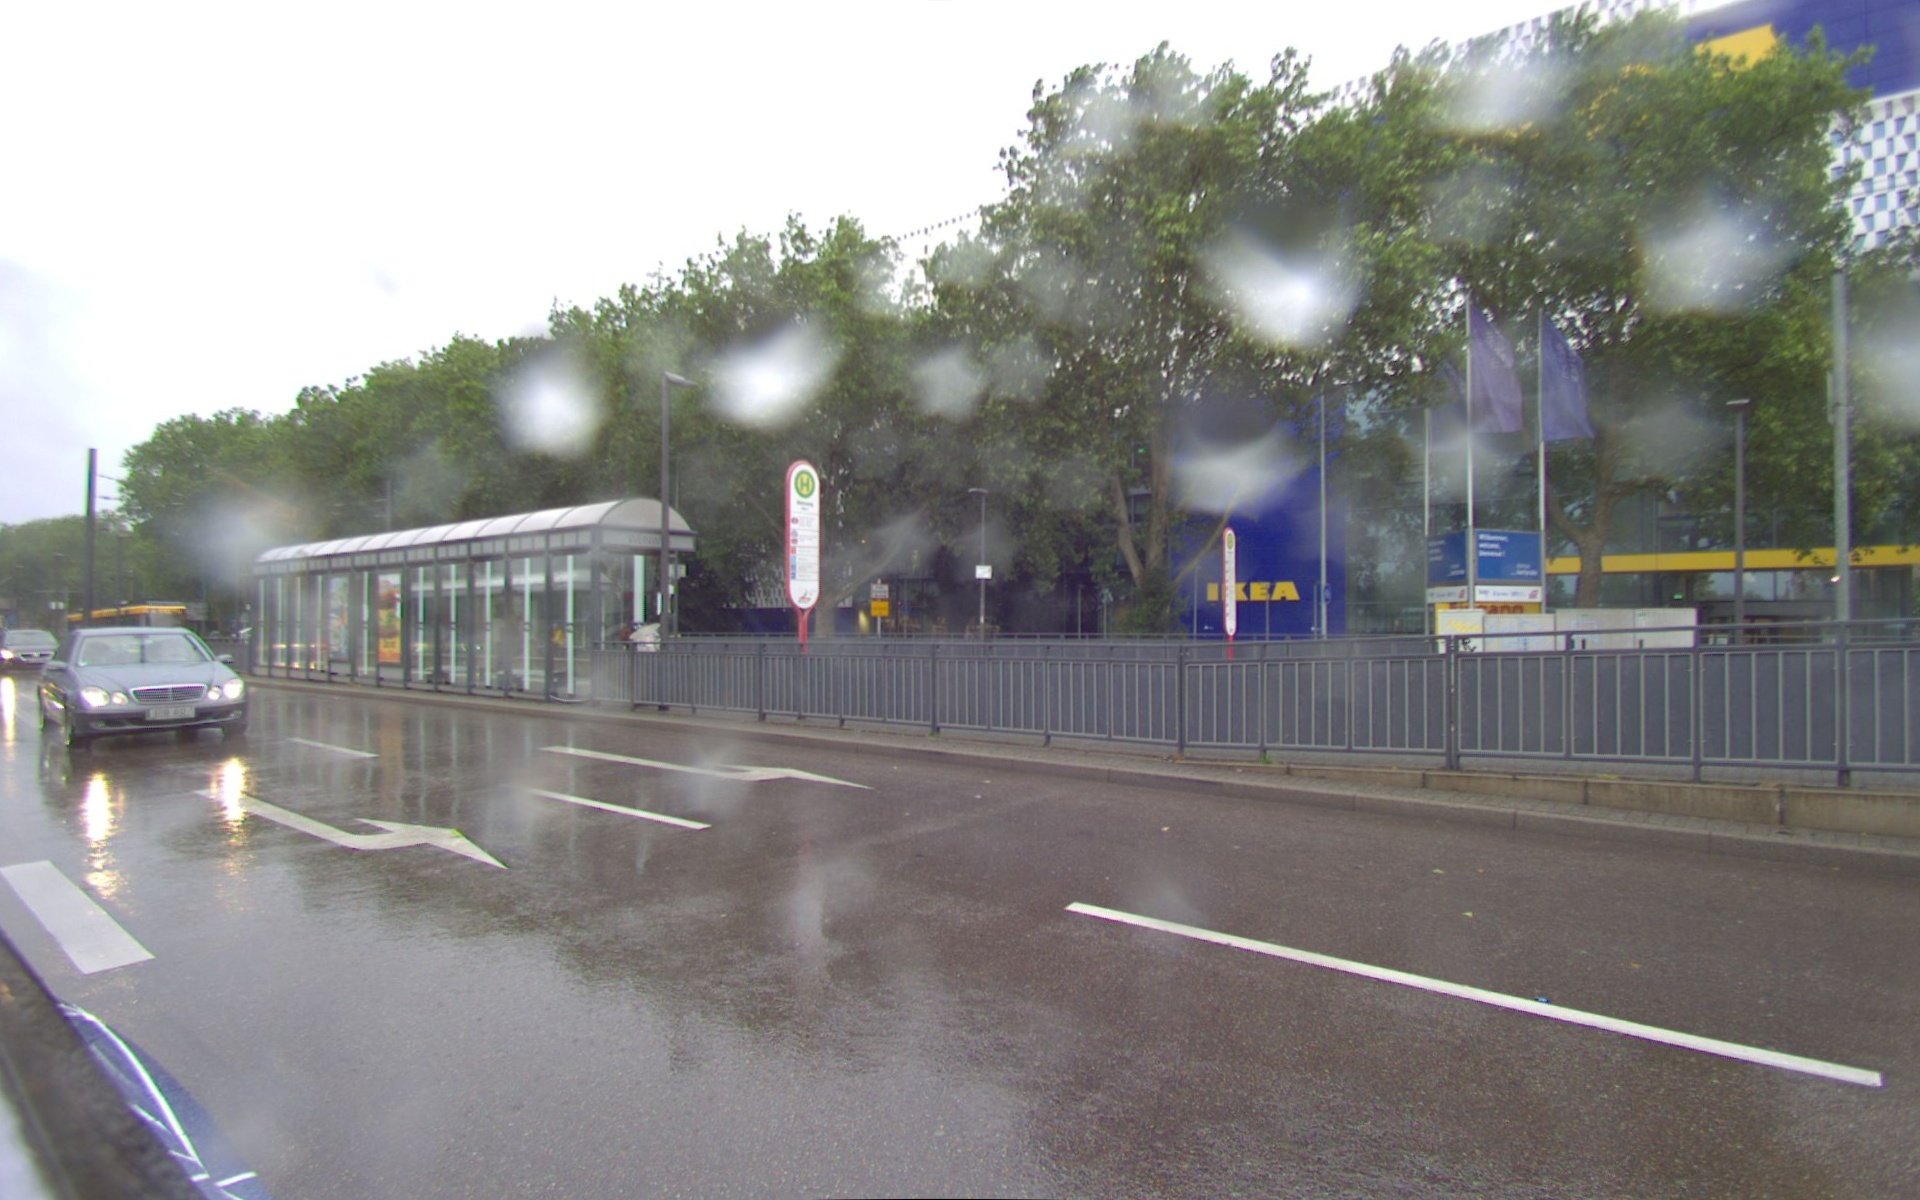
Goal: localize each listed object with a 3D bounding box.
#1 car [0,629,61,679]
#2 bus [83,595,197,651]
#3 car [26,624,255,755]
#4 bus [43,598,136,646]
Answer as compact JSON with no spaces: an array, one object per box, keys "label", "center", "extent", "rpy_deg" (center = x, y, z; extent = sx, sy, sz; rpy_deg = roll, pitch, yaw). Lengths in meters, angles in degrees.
[{"label":"car","center":[-31.989,1.784,34.358],"extent":[4.596,1.512,1.752],"rpy_deg":[-1,0,43]},{"label":"bus","center":[-54.370,1.464,66.869],"extent":[15.048,3.354,2.902],"rpy_deg":[-1,0,40]},{"label":"car","center":[-11.086,1.054,13.553],"extent":[4.645,1.409,1.743],"rpy_deg":[-1,0,43]},{"label":"bus","center":[-66.043,1.589,76.581],"extent":[15.050,3.354,2.902],"rpy_deg":[-1,0,40]}]
